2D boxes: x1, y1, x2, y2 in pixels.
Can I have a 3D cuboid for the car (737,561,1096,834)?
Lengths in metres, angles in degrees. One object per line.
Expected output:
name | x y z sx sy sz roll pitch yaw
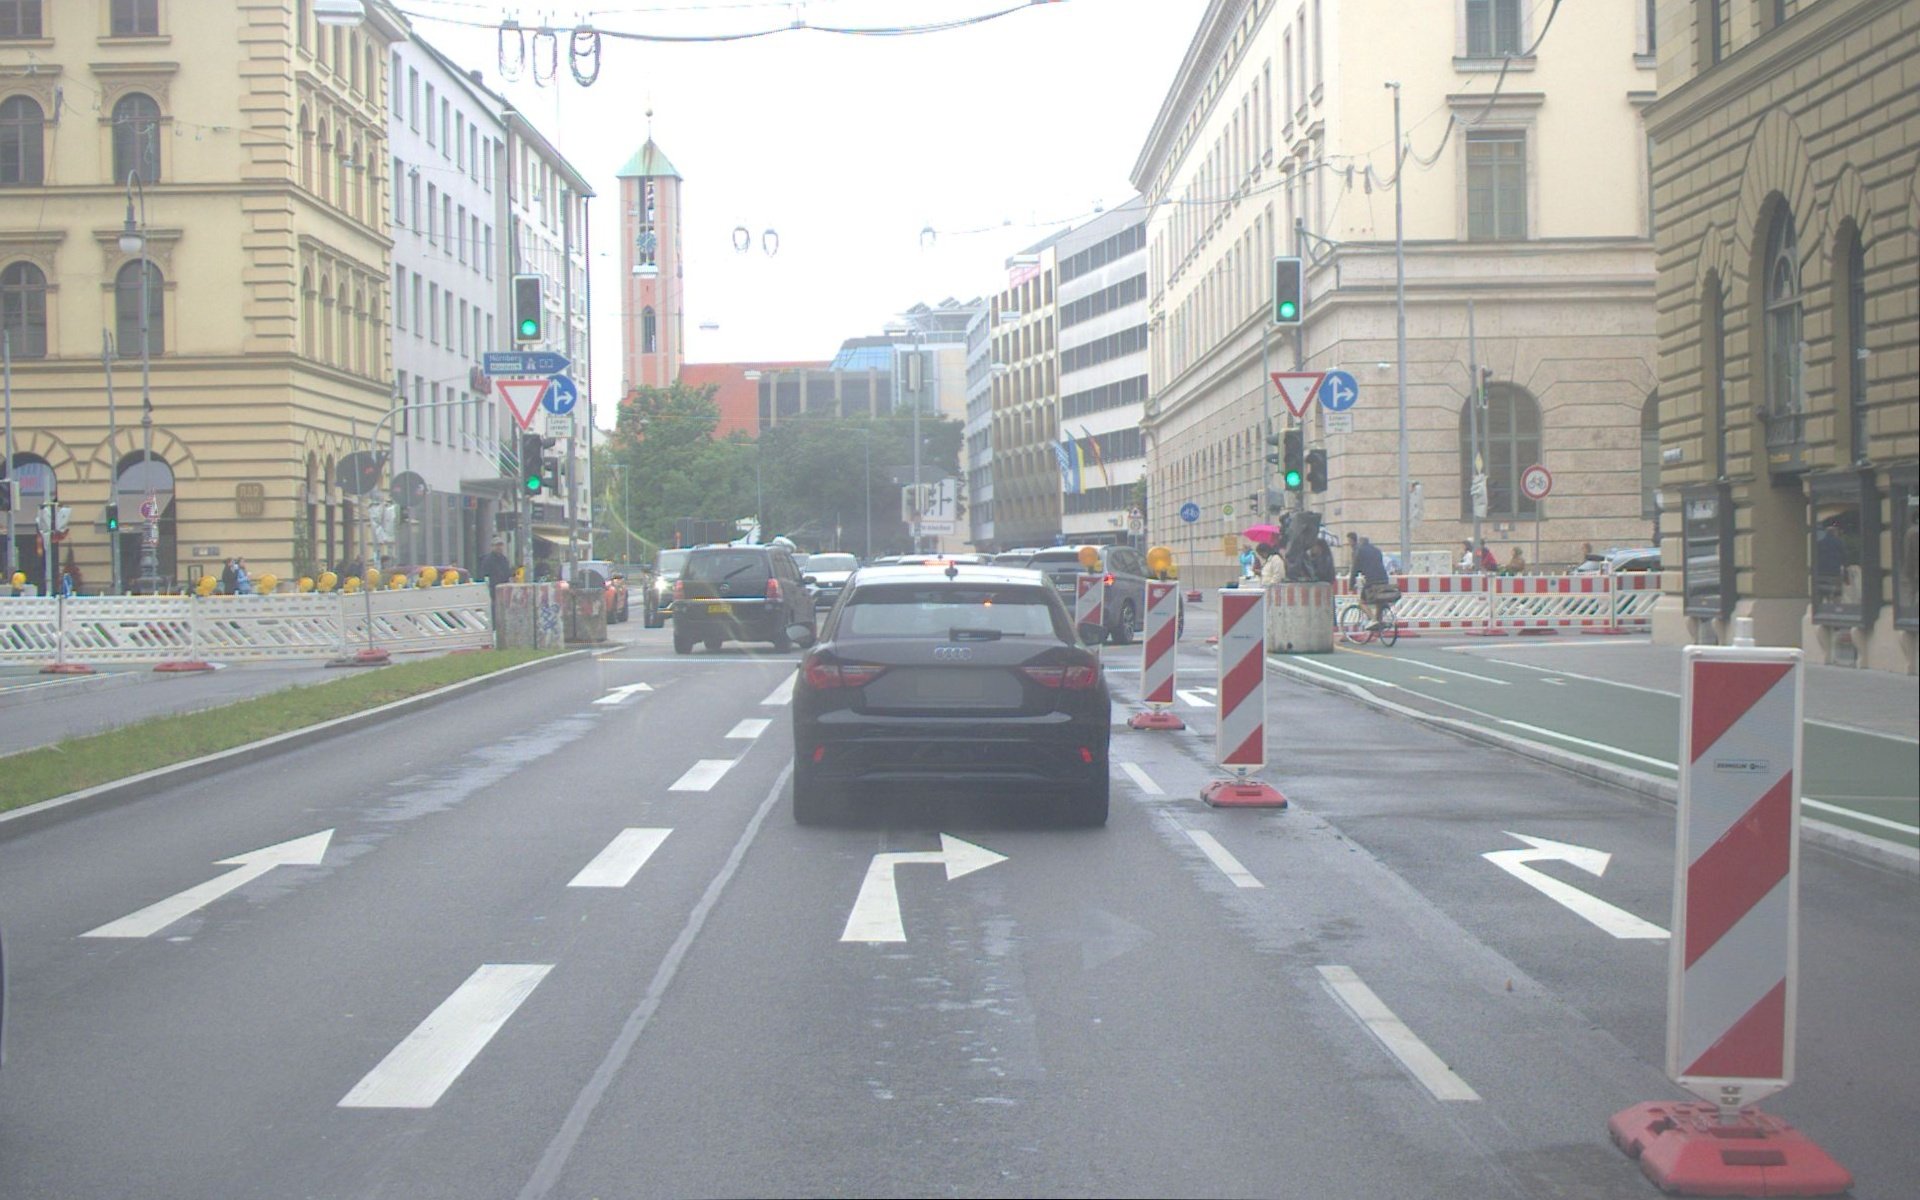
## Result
car | -0.249 0.483 19.839 1.863 1.383 4.000 0 1 -1

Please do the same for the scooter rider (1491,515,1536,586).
scooter rider | 12.730 -1.140 79.104 0.932 1.617 0.592 0 1 1

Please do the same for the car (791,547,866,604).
car | -3.634 -0.696 95.597 1.993 1.518 4.233 -1 1 -1

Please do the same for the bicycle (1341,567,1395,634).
bicycle | 6.327 -0.007 53.354 0.585 1.008 1.657 0 1 -2

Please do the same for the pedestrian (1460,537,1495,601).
pedestrian | 12.612 -0.754 83.812 0.817 1.552 0.667 0 1 7

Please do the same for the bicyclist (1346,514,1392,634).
bicyclist | 6.332 -0.408 53.260 0.566 1.847 0.799 0 1 -2

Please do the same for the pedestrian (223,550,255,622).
pedestrian | -17.724 -0.340 84.533 0.733 1.766 0.739 0 1 -10

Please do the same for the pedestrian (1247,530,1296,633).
pedestrian | 4.746 -0.284 52.393 0.702 1.562 0.541 0 1 2

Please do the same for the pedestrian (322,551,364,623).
pedestrian | -15.305 -0.325 85.296 0.734 1.766 0.760 1 1 21

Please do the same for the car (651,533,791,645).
car | -3.559 -0.190 51.796 1.865 1.596 3.851 -1 1 -1

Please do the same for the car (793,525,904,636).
car | -2.078 -0.392 65.094 1.993 2.007 4.000 -1 1 -1

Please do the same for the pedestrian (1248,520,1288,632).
pedestrian | 4.510 -0.356 50.385 0.531 1.614 0.674 0 1 2

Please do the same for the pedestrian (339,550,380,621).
pedestrian | -15.026 -0.365 86.014 0.734 1.766 0.738 1 1 21

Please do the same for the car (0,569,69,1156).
car | -3.231 0.662 6.752 1.813 1.420 4.452 1 1 0

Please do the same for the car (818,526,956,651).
car | -0.996 -0.184 46.297 1.769 1.611 4.000 0 1 -2

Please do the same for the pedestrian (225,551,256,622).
pedestrian | -17.838 -0.335 85.267 0.733 1.766 0.739 0 1 -10

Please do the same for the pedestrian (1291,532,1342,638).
pedestrian | 5.325 -0.229 51.400 0.702 1.562 0.682 0 1 2

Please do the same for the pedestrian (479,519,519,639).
pedestrian | -6.789 -0.312 50.618 0.512 1.737 1.043 -1 1 -10
